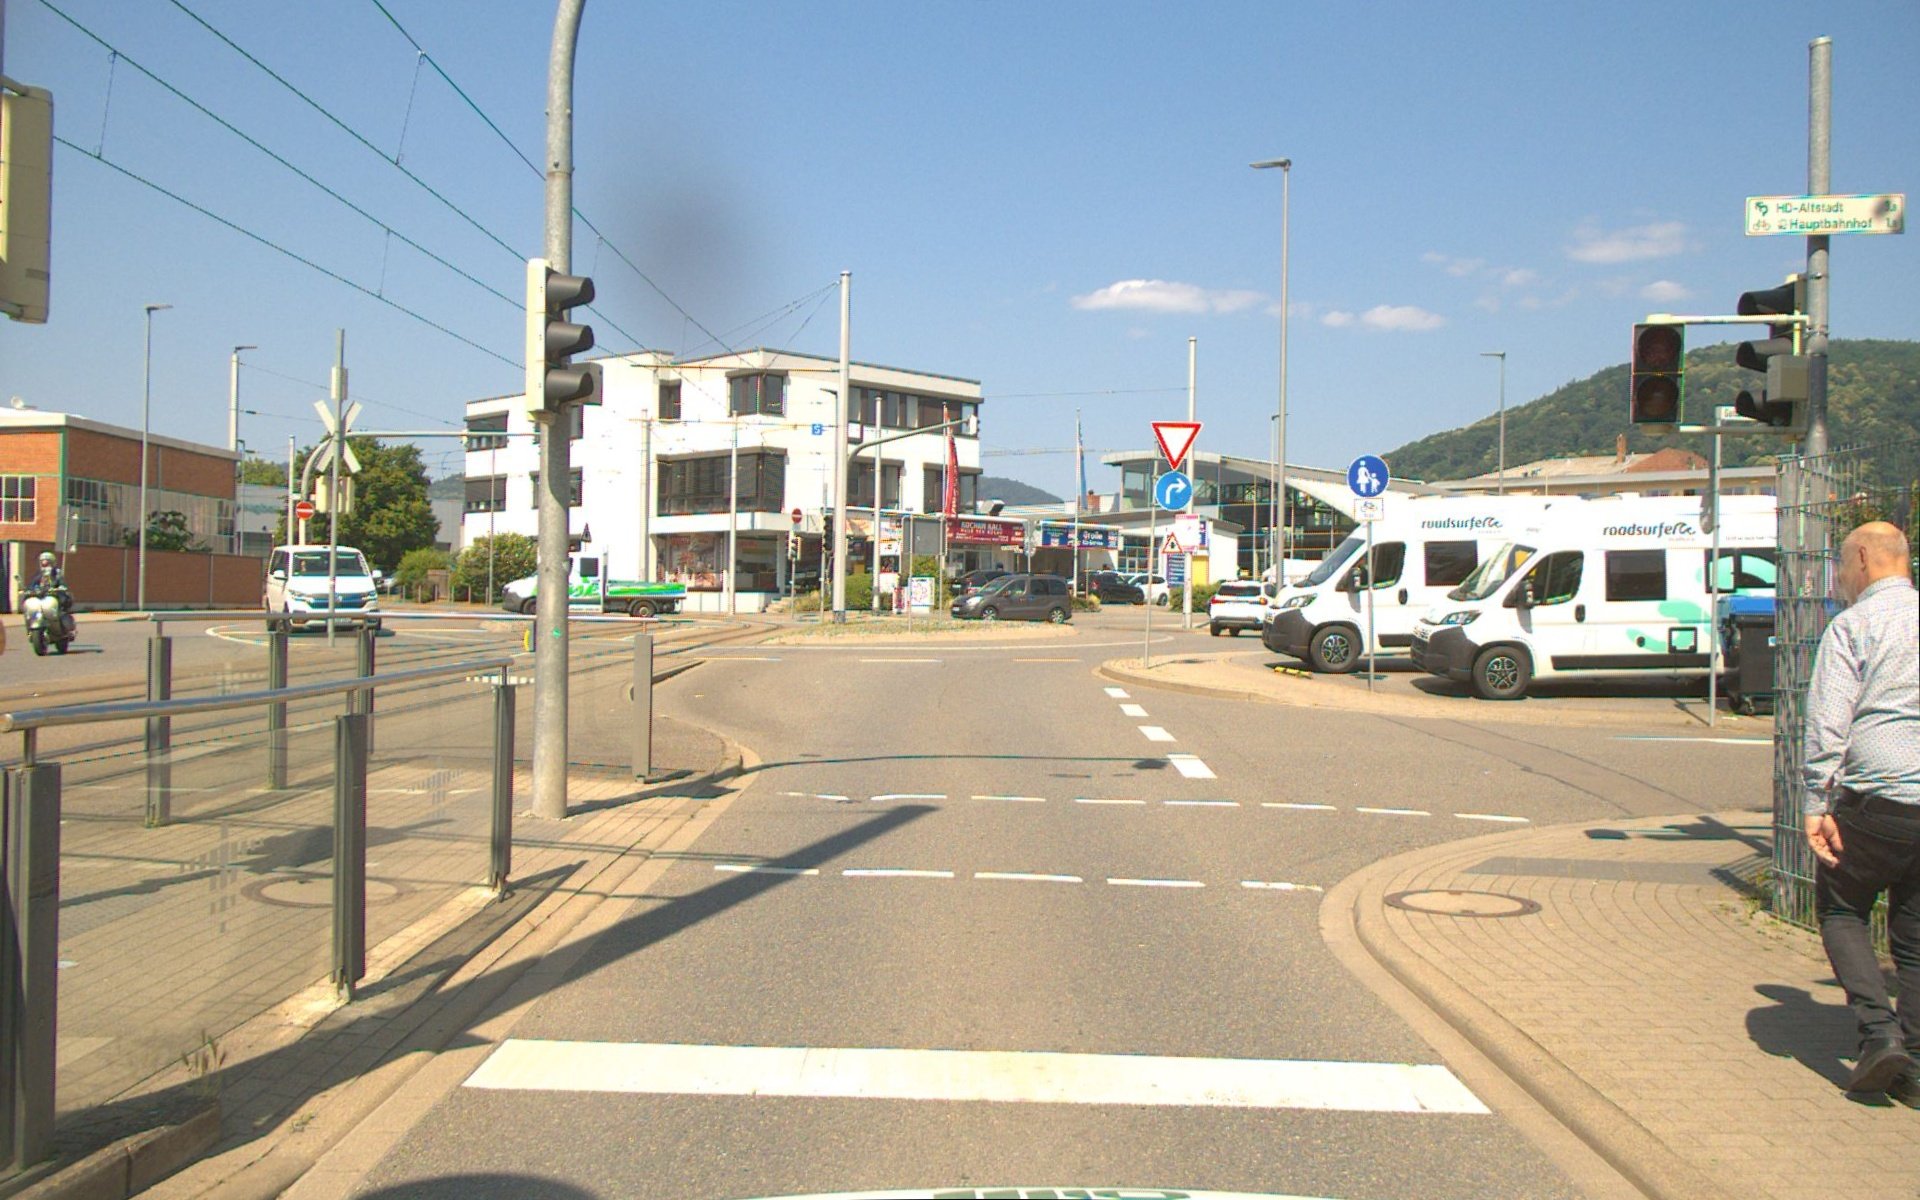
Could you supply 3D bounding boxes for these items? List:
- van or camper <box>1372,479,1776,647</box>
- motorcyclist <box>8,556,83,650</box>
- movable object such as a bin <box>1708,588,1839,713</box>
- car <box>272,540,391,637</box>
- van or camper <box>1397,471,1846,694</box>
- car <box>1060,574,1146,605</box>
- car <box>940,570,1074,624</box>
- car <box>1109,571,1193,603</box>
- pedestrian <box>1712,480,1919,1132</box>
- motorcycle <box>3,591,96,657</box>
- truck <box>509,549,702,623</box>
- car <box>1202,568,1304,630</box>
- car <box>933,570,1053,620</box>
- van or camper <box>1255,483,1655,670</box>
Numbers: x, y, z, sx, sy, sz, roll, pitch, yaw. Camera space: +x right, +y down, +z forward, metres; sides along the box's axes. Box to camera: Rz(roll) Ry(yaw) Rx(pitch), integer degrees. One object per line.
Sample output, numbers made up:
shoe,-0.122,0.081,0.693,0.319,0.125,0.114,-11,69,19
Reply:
van or camper,11.731,-0.697,31.990,6.917,2.998,2.335,-1,0,0
motorcyclist,-14.853,0.041,26.881,0.821,1.501,0.959,1,0,-14
movable object such as a bin,10.314,0.617,21.034,1.226,1.482,1.080,1,3,12
car,-14.374,-0.272,37.664,2.135,2.049,4.978,1,1,-25
van or camper,9.083,-0.292,23.135,5.391,2.862,2.049,1,2,4
car,6.949,-0.509,80.025,1.997,1.452,4.290,1,1,42
car,1.681,-0.099,58.588,4.337,1.850,1.975,1,1,-24
car,9.966,-0.657,86.171,1.853,1.616,4.897,-1,-1,42
pedestrian,2.809,0.541,4.845,0.796,1.729,0.887,0,0,-2
motorcycle,-14.906,0.374,27.128,0.808,1.029,1.957,1,1,-13
truck,-12.054,-0.473,56.240,6.262,2.378,2.201,1,0,-15
car,8.743,-0.050,49.105,1.953,1.763,4.562,1,1,24
car,1.440,-0.216,69.682,5.239,2.000,1.935,0,1,-44
van or camper,7.662,-0.387,26.078,5.689,2.822,2.092,0,1,2
